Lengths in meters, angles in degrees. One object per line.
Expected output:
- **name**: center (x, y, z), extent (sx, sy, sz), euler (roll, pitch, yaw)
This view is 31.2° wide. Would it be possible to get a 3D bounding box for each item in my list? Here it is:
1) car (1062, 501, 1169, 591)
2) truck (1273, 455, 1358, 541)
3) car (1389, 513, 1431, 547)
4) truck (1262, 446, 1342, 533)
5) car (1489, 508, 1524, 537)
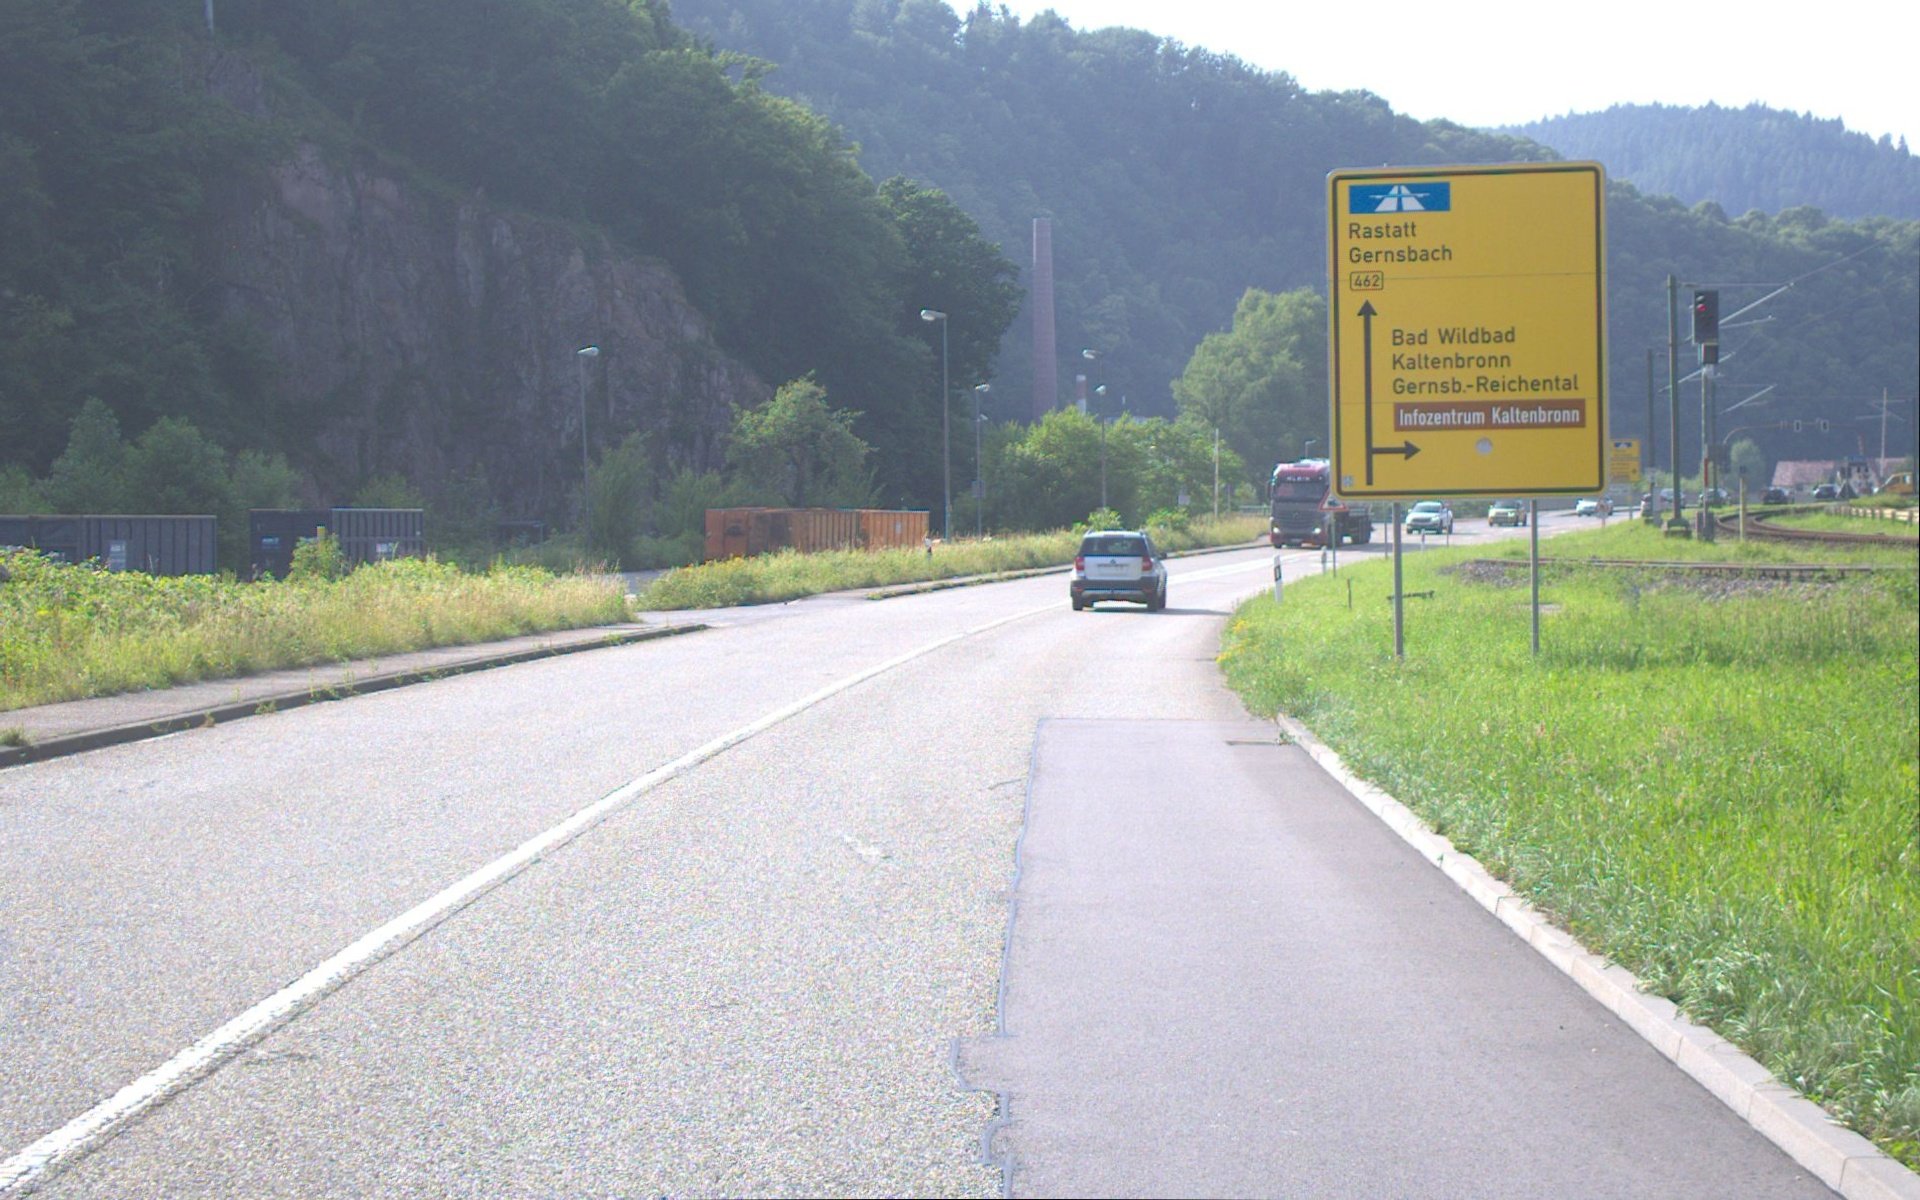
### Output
- **car**: center (3.261, -1.135, 71.405), extent (1.994, 1.717, 3.989), euler (-3, 1, 5)
- **truck**: center (16.743, -4.782, 161.296), extent (2.751, 3.822, 14.556), euler (1, 2, 11)
- **car**: center (24.195, -3.757, 184.770), extent (1.994, 1.752, 4.468), euler (1, 2, 10)
- **truck**: center (15.432, -4.966, 154.569), extent (2.751, 3.822, 8.194), euler (1, 2, 11)
- **car**: center (32.284, -4.584, 203.017), extent (1.725, 1.619, 3.794), euler (1, 2, 13)
